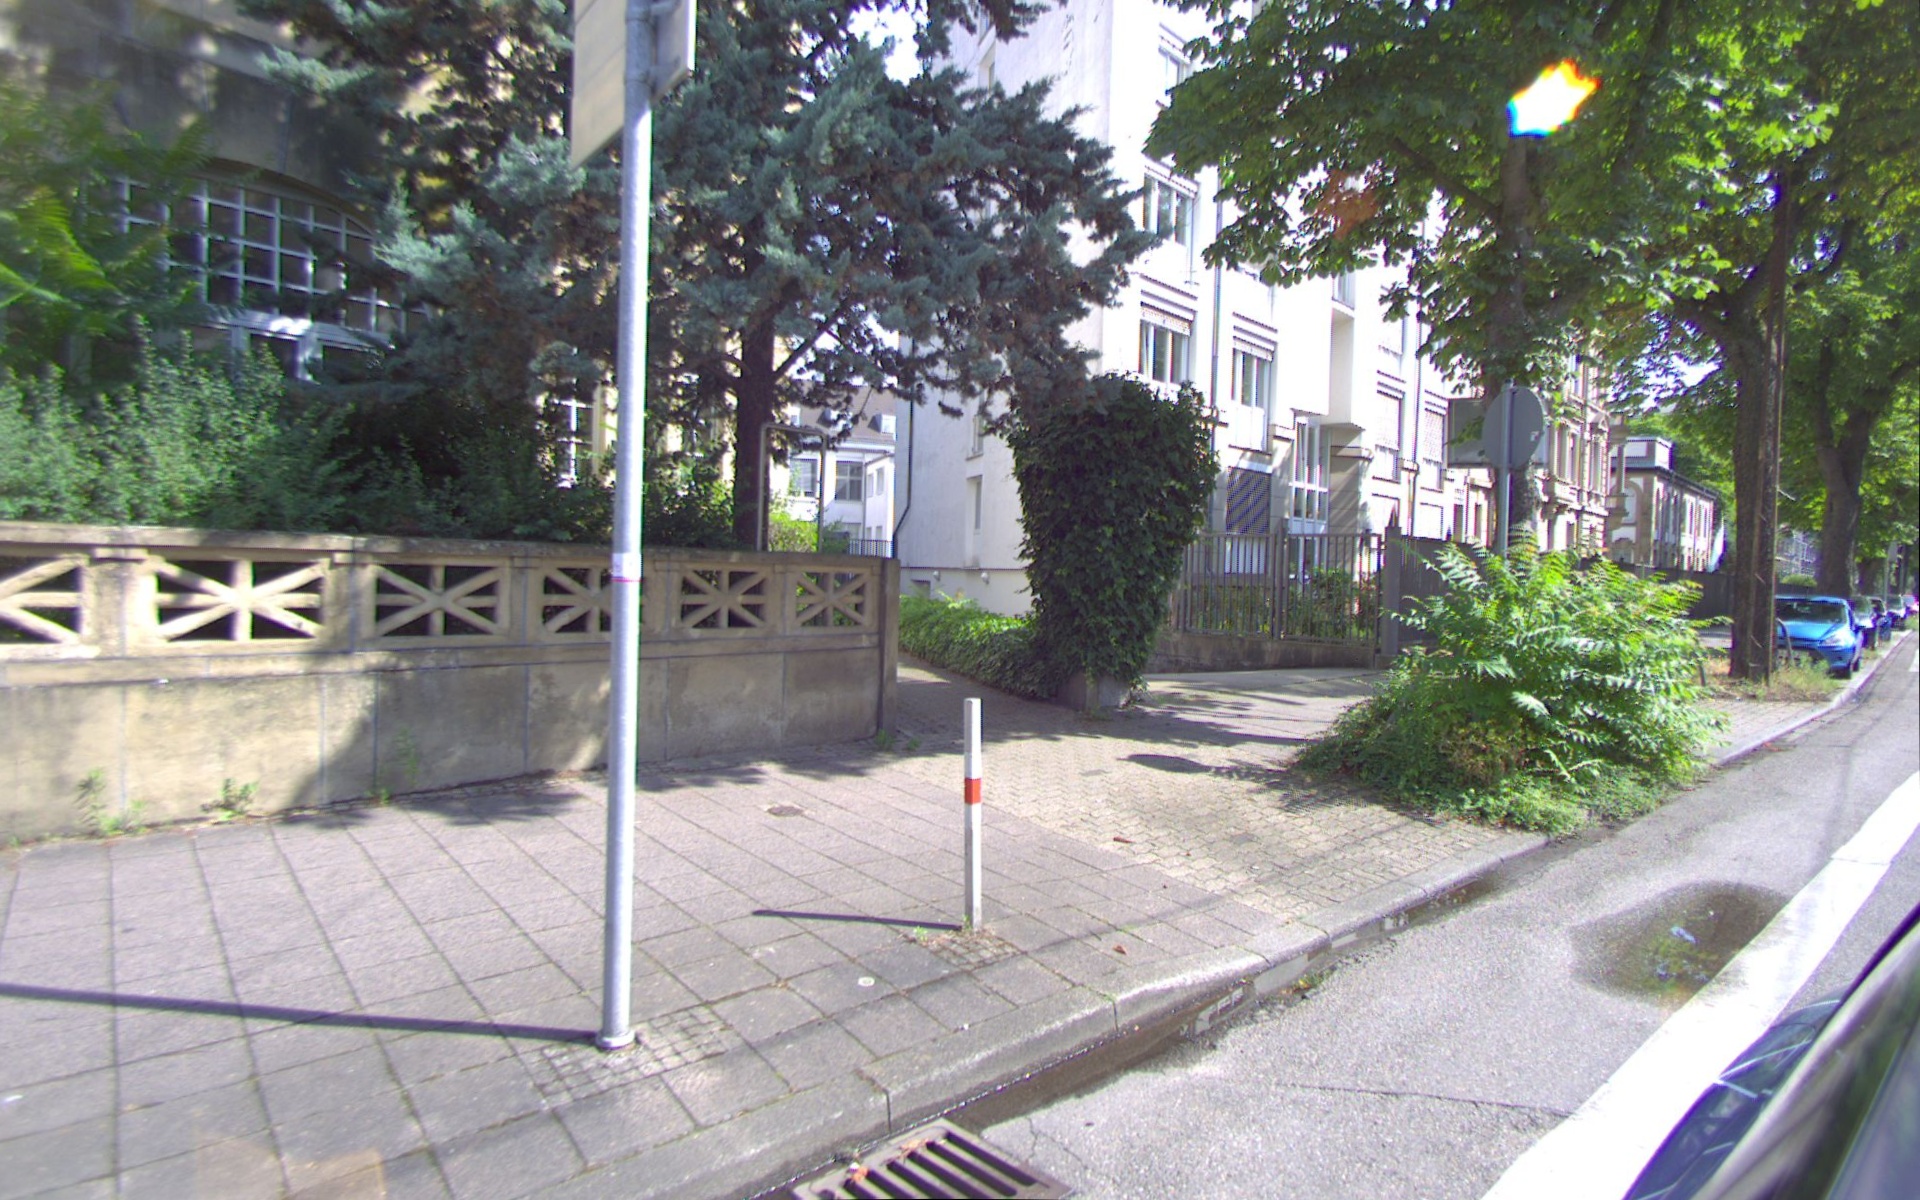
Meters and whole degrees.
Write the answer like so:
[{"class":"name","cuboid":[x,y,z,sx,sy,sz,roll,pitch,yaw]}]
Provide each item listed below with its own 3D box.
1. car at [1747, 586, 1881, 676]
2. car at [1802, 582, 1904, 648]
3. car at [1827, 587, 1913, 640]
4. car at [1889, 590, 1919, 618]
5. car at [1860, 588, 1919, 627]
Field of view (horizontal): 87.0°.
[{"class":"car","cuboid":[16.495,0.525,19.498,1.639,1.472,3.639,5,4,44]},{"class":"car","cuboid":[23.613,0.358,26.723,3.562,1.526,1.643,0,4,-44]},{"class":"car","cuboid":[29.208,0.394,32.441,3.861,1.469,1.722,0,4,-44]},{"class":"car","cuboid":[58.067,0.241,61.726,4.131,1.591,1.772,0,4,-44]},{"class":"car","cuboid":[42.164,0.302,45.809,4.131,1.549,1.772,0,4,-44]}]
